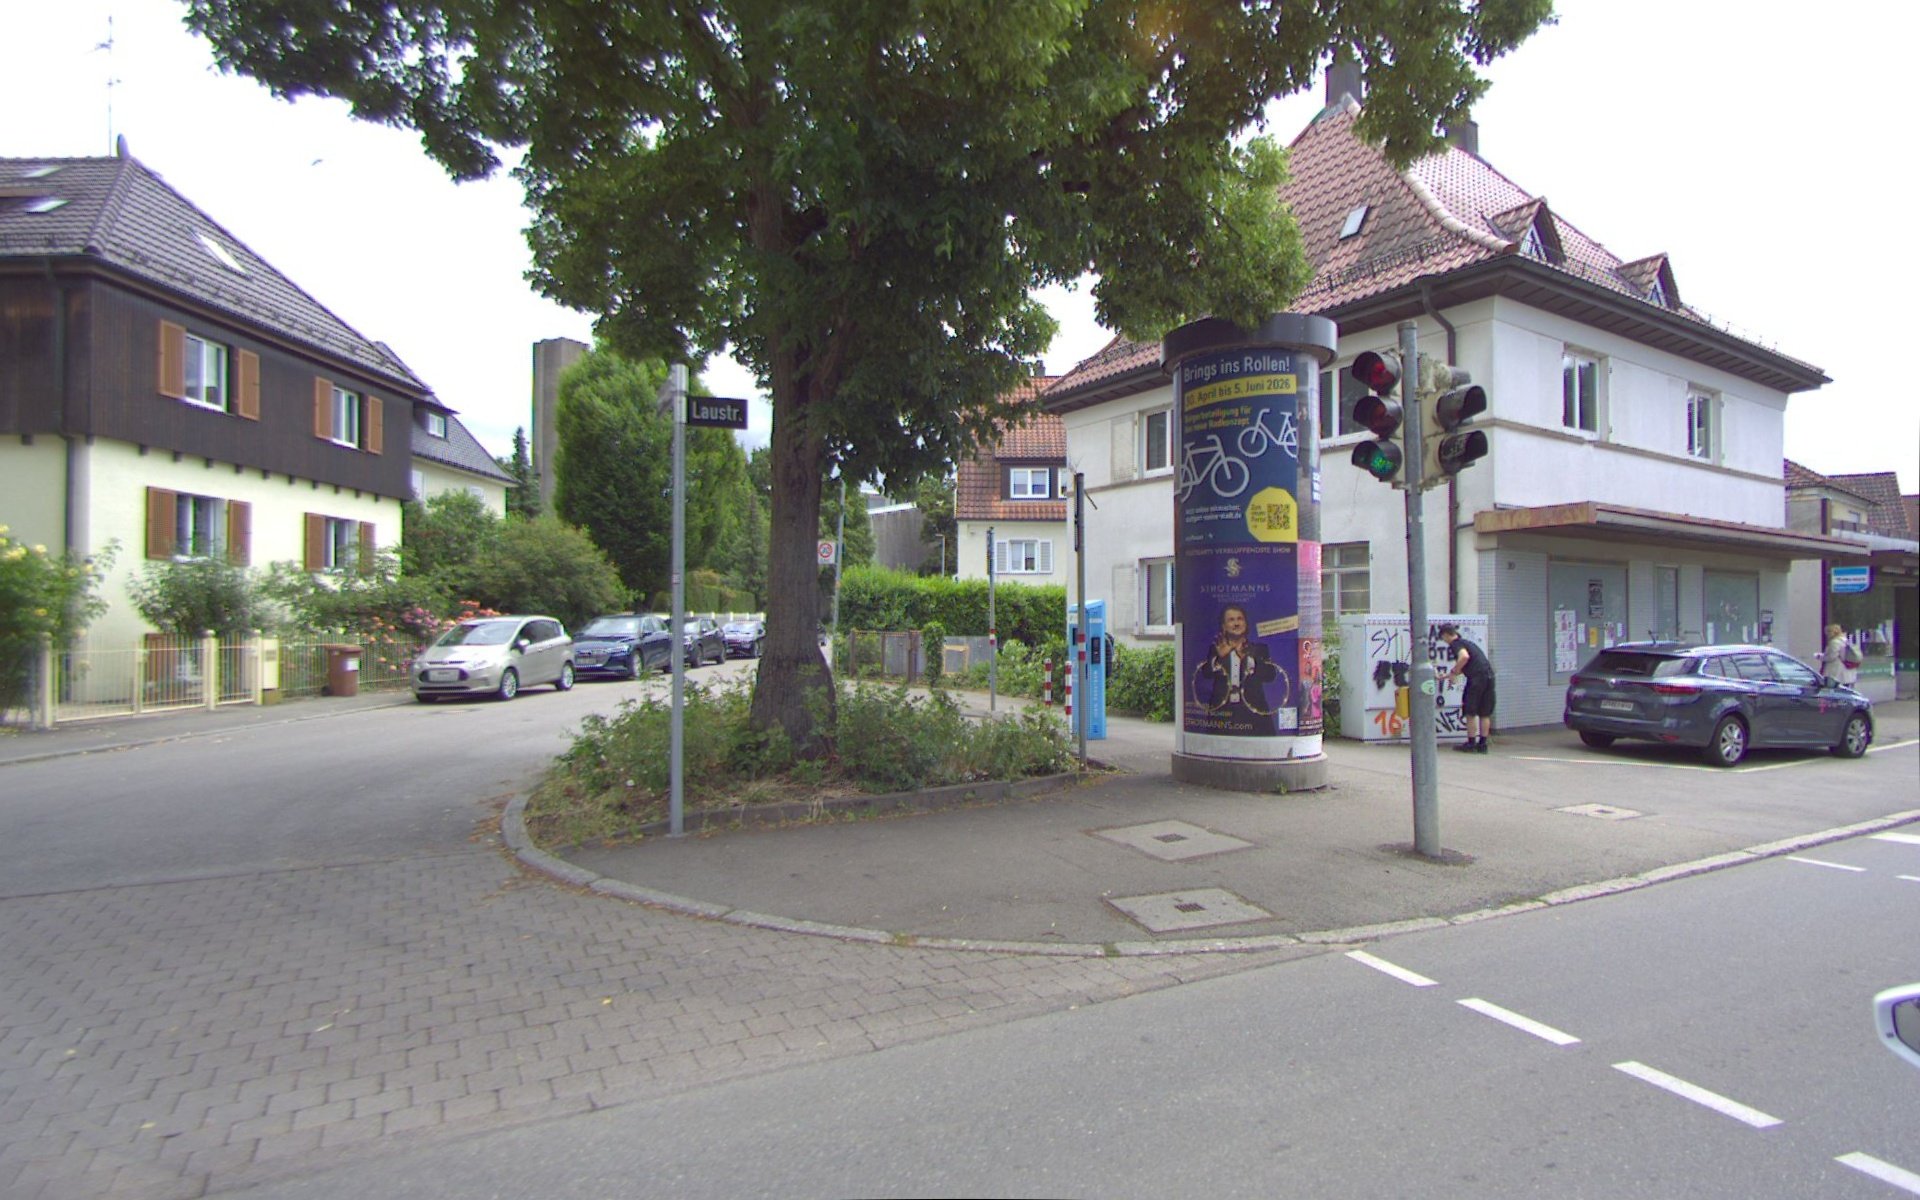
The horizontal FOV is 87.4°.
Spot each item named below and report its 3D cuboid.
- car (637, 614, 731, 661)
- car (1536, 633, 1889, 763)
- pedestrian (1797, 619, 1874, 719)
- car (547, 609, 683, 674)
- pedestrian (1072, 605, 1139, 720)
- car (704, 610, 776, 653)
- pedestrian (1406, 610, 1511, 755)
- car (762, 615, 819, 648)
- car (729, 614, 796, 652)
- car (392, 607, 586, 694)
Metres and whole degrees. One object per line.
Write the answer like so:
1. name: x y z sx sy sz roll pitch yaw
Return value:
1. car: -8.530 1.157 31.361 1.701 1.361 3.980 0 -1 2
2. car: 10.121 1.279 13.498 4.461 1.460 1.775 3 0 -23
3. pedestrian: 16.405 1.273 18.829 0.955 1.774 0.876 2 0 -37
4. car: -8.617 1.012 25.534 1.889 1.514 4.435 0 -1 0
5. pedestrian: 2.128 0.898 14.745 0.706 1.638 0.695 0 0 -26
6. car: -8.237 1.173 37.899 1.719 1.543 3.817 0 -1 2
7. pedestrian: 6.288 1.016 12.713 0.748 1.741 0.886 1 0 -16
8. car: -8.144 1.516 48.643 1.960 1.543 3.817 0 -1 2
9. car: -8.360 1.380 42.752 1.960 1.543 3.817 0 -1 2
10. car: -9.053 0.931 19.723 1.795 1.509 3.980 -1 -1 2
